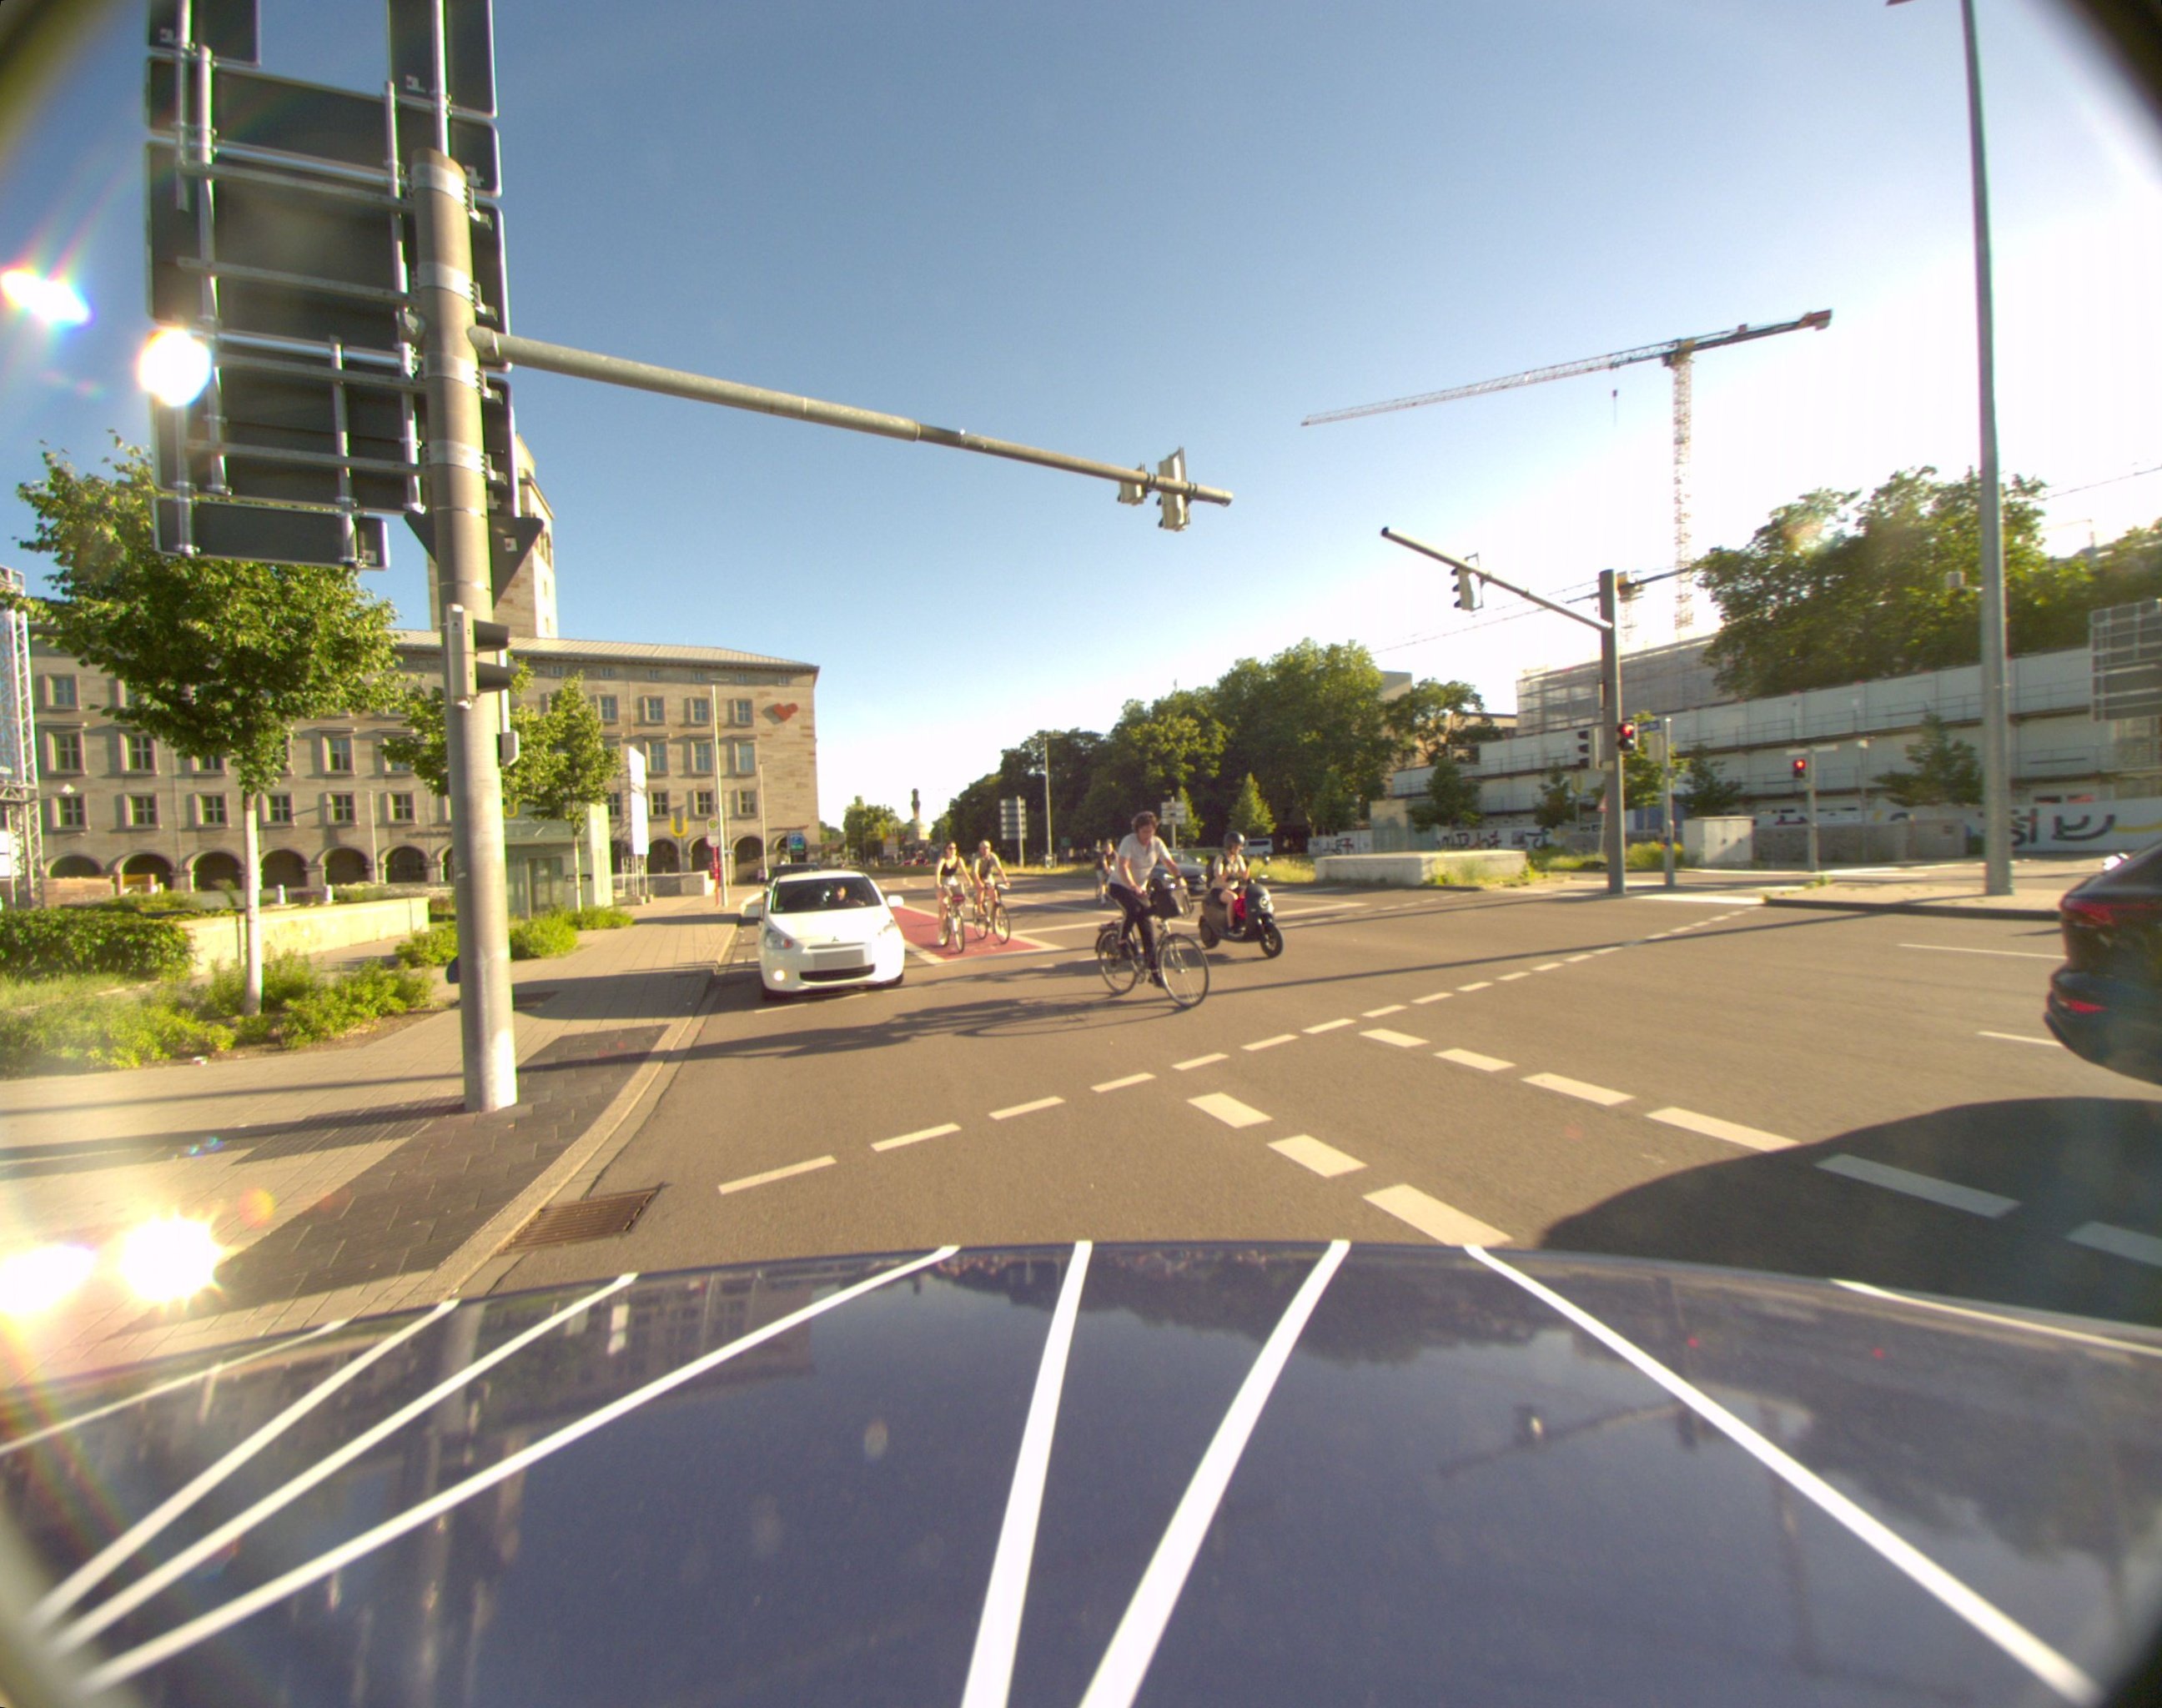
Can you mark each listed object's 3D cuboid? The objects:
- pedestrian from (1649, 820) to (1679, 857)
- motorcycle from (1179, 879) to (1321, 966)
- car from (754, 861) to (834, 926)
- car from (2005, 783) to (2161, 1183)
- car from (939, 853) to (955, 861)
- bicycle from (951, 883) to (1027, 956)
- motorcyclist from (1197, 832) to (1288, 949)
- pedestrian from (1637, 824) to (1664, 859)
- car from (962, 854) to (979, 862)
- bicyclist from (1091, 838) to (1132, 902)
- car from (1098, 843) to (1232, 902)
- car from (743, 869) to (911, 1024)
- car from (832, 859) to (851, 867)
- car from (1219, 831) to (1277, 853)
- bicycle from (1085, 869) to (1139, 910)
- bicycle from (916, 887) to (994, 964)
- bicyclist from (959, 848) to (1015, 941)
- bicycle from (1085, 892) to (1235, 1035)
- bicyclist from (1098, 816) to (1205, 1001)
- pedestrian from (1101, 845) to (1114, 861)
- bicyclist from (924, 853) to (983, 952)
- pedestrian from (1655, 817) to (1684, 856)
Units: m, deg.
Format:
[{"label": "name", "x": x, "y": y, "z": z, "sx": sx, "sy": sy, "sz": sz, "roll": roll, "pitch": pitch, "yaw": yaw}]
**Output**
[{"label": "pedestrian", "x": 25.176, "y": -0.659, "z": 32.790, "sx": 0.841, "sy": 1.580, "sz": 0.653, "roll": -3, "pitch": 1, "yaw": -21}, {"label": "motorcycle", "x": 2.238, "y": 0.872, "z": 10.335, "sx": 0.758, "sy": 0.963, "sz": 1.955, "roll": -4, "pitch": 1, "yaw": -28}, {"label": "car", "x": -8.883, "y": 1.118, "z": 23.398, "sx": 2.002, "sy": 1.652, "sz": 4.783, "roll": -3, "pitch": 1, "yaw": -22}, {"label": "car", "x": 6.246, "y": 0.477, "z": 1.772, "sx": 2.203, "sy": 1.652, "sz": 4.782, "roll": -3, "pitch": 1, "yaw": -24}, {"label": "car", "x": -20.694, "y": 0.514, "z": 117.377, "sx": 1.621, "sy": 1.126, "sz": 3.763, "roll": -4, "pitch": 1, "yaw": -22}, {"label": "bicycle", "x": -1.661, "y": 1.119, "z": 13.448, "sx": 0.626, "sy": 1.110, "sz": 1.812, "roll": -3, "pitch": 1, "yaw": -30}, {"label": "motorcyclist", "x": 2.190, "y": 0.473, "z": 10.374, "sx": 0.758, "sy": 1.475, "sz": 0.880, "roll": -4, "pitch": 2, "yaw": -28}, {"label": "pedestrian", "x": 24.406, "y": -0.532, "z": 32.570, "sx": 0.604, "sy": 1.445, "sz": 0.653, "roll": -3, "pitch": 1, "yaw": -21}, {"label": "car", "x": -16.902, "y": 0.615, "z": 116.528, "sx": 1.621, "sy": 1.126, "sz": 3.763, "roll": -4, "pitch": 1, "yaw": -22}, {"label": "bicyclist", "x": 0.754, "y": 0.385, "z": 18.753, "sx": 0.625, "sy": 1.495, "sz": 0.936, "roll": -4, "pitch": 2, "yaw": -20}, {"label": "car", "x": 2.157, "y": 0.448, "z": 20.916, "sx": 1.778, "sy": 1.344, "sz": 4.518, "roll": -4, "pitch": 1, "yaw": -20}, {"label": "car", "x": -3.539, "y": 1.039, "z": 10.277, "sx": 1.662, "sy": 1.463, "sz": 3.961, "roll": -5, "pitch": 2, "yaw": -22}, {"label": "car", "x": -53.426, "y": 1.945, "z": 169.384, "sx": 3.773, "sy": 1.443, "sz": 1.616, "roll": -4, "pitch": 2, "yaw": -20}, {"label": "car", "x": 16.625, "y": -1.177, "z": 75.659, "sx": 5.334, "sy": 1.880, "sz": 1.997, "roll": -3, "pitch": 0, "yaw": -18}, {"label": "bicycle", "x": 0.744, "y": 0.853, "z": 18.866, "sx": 0.625, "sy": 0.903, "sz": 1.907, "roll": -4, "pitch": 1, "yaw": -20}, {"label": "bicycle", "x": -2.112, "y": 1.139, "z": 12.556, "sx": 0.653, "sy": 1.088, "sz": 1.796, "roll": -3, "pitch": 1, "yaw": -29}, {"label": "bicyclist", "x": -1.668, "y": 0.692, "z": 13.431, "sx": 0.626, "sy": 1.566, "sz": 0.892, "roll": -3, "pitch": 1, "yaw": -30}, {"label": "bicycle", "x": 0.695, "y": 0.969, "z": 7.369, "sx": 0.709, "sy": 1.088, "sz": 1.797, "roll": -3, "pitch": 1, "yaw": -19}, {"label": "bicyclist", "x": 0.665, "y": 0.490, "z": 7.355, "sx": 0.702, "sy": 1.660, "sz": 0.785, "roll": -3, "pitch": 1, "yaw": -19}, {"label": "pedestrian", "x": 2.967, "y": -0.132, "z": 85.705, "sx": 0.998, "sy": 1.773, "sz": 0.962, "roll": -5, "pitch": 2, "yaw": -21}, {"label": "bicyclist", "x": -2.108, "y": 0.767, "z": 12.525, "sx": 0.653, "sy": 1.534, "sz": 0.845, "roll": -3, "pitch": 1, "yaw": -29}, {"label": "pedestrian", "x": 25.968, "y": -0.778, "z": 33.525, "sx": 0.841, "sy": 1.671, "sz": 0.653, "roll": -3, "pitch": 1, "yaw": -21}]
